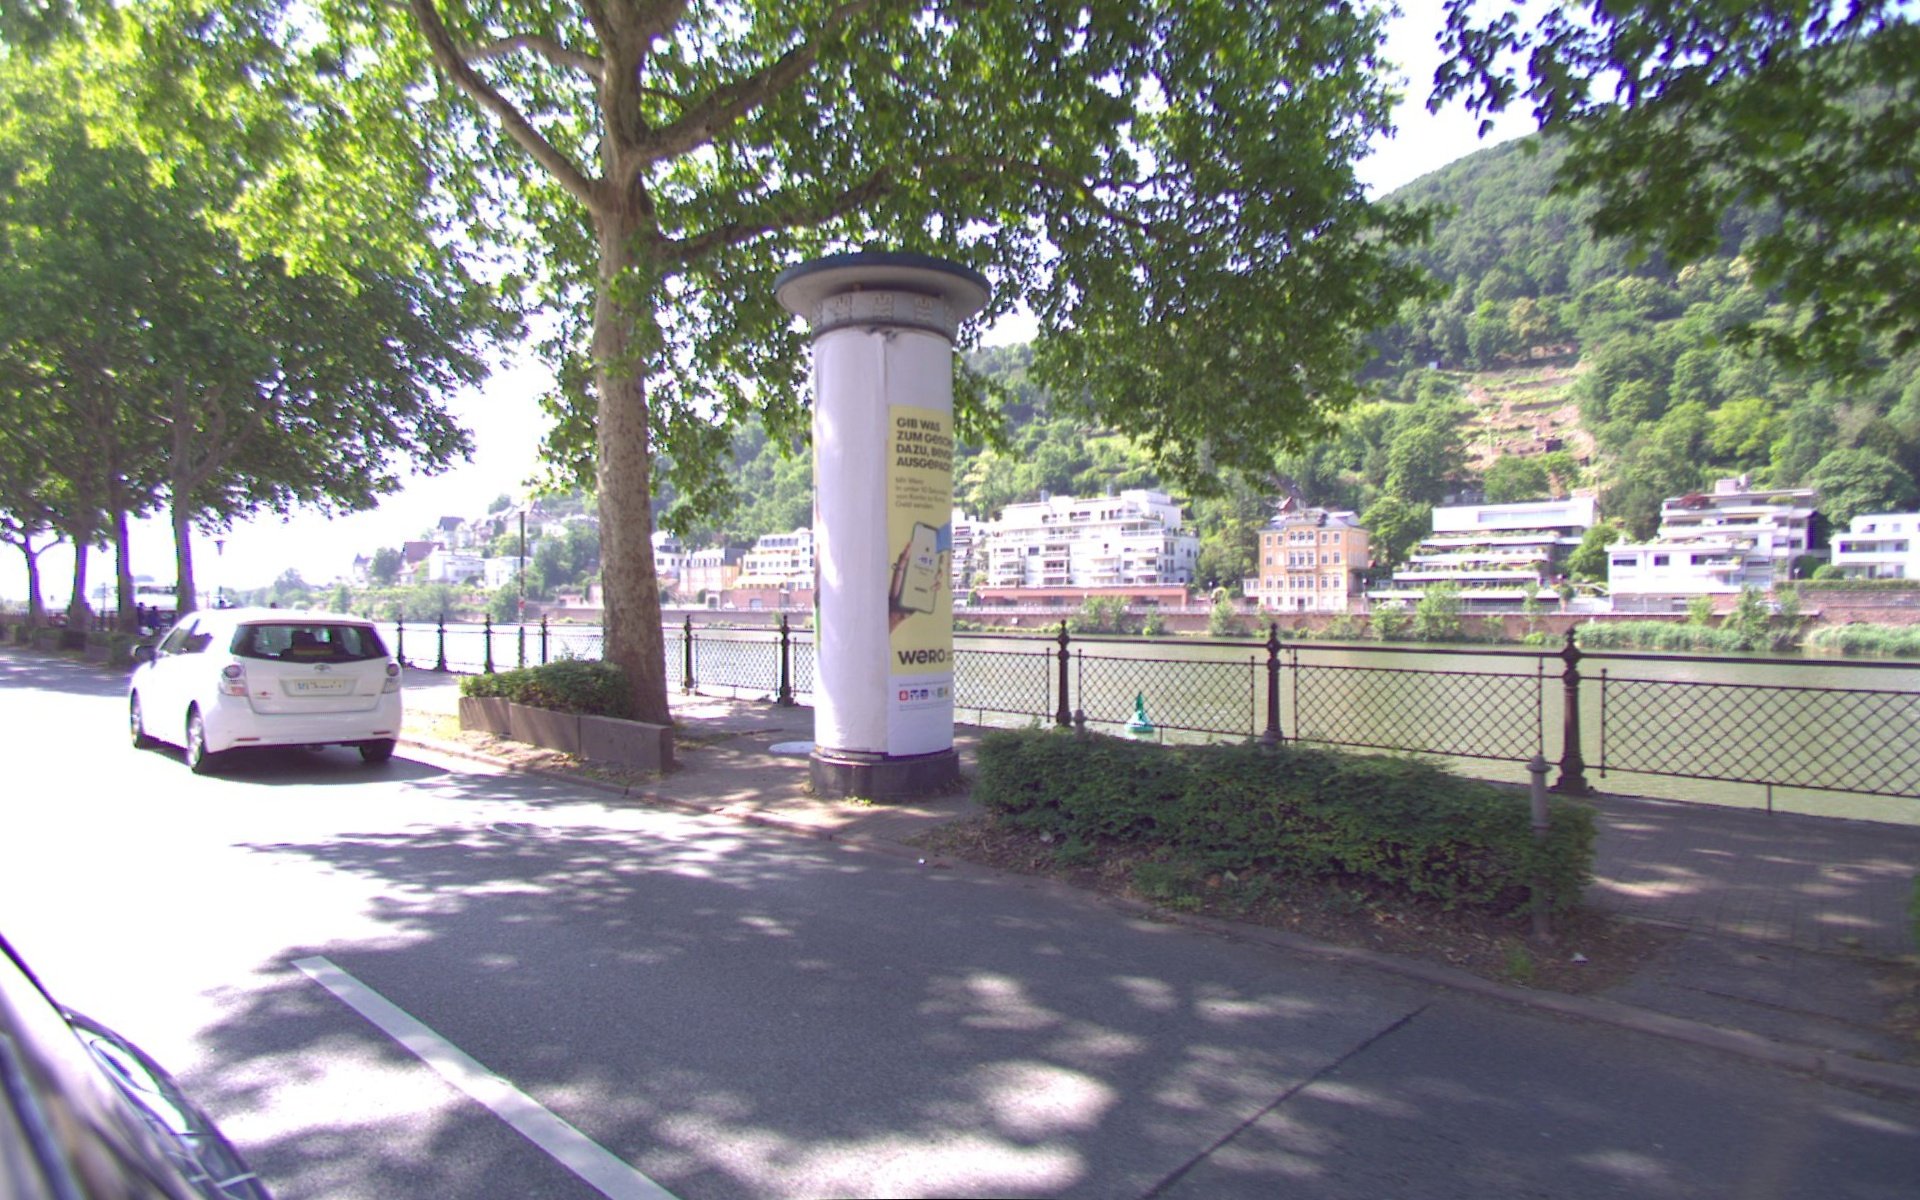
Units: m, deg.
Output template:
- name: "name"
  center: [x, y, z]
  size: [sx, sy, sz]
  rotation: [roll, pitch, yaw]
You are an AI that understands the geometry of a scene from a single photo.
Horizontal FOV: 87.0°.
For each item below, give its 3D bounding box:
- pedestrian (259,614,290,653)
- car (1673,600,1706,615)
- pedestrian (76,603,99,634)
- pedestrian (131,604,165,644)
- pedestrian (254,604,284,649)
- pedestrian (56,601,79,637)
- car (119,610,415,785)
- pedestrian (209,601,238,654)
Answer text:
- name: "pedestrian"
  center: [-25.081, 1.206, 37.019]
  size: [0.770, 1.398, 0.758]
  rotation: [-1, -2, 40]
- name: "car"
  center: [113.929, 1.167, 158.065]
  size: [3.998, 2.029, 1.973]
  rotation: [-3, -1, 42]
- name: "pedestrian"
  center: [-47.229, 1.002, 54.793]
  size: [0.885, 1.646, 1.060]
  rotation: [-2, 2, -43]
- name: "pedestrian"
  center: [-41.605, 1.216, 51.884]
  size: [1.032, 2.029, 1.038]
  rotation: [-1, 1, -18]
- name: "pedestrian"
  center: [-27.399, 1.053, 40.122]
  size: [0.829, 1.771, 0.767]
  rotation: [-1, -2, 41]
- name: "pedestrian"
  center: [-47.495, 0.998, 53.849]
  size: [0.929, 1.863, 0.796]
  rotation: [0, 1, 41]
- name: "car"
  center: [-7.772, 0.943, 11.199]
  size: [4.090, 1.584, 1.720]
  rotation: [-1, -3, 42]
- name: "pedestrian"
  center: [-26.784, 0.993, 36.800]
  size: [0.756, 1.915, 0.772]
  rotation: [2, -2, -41]
